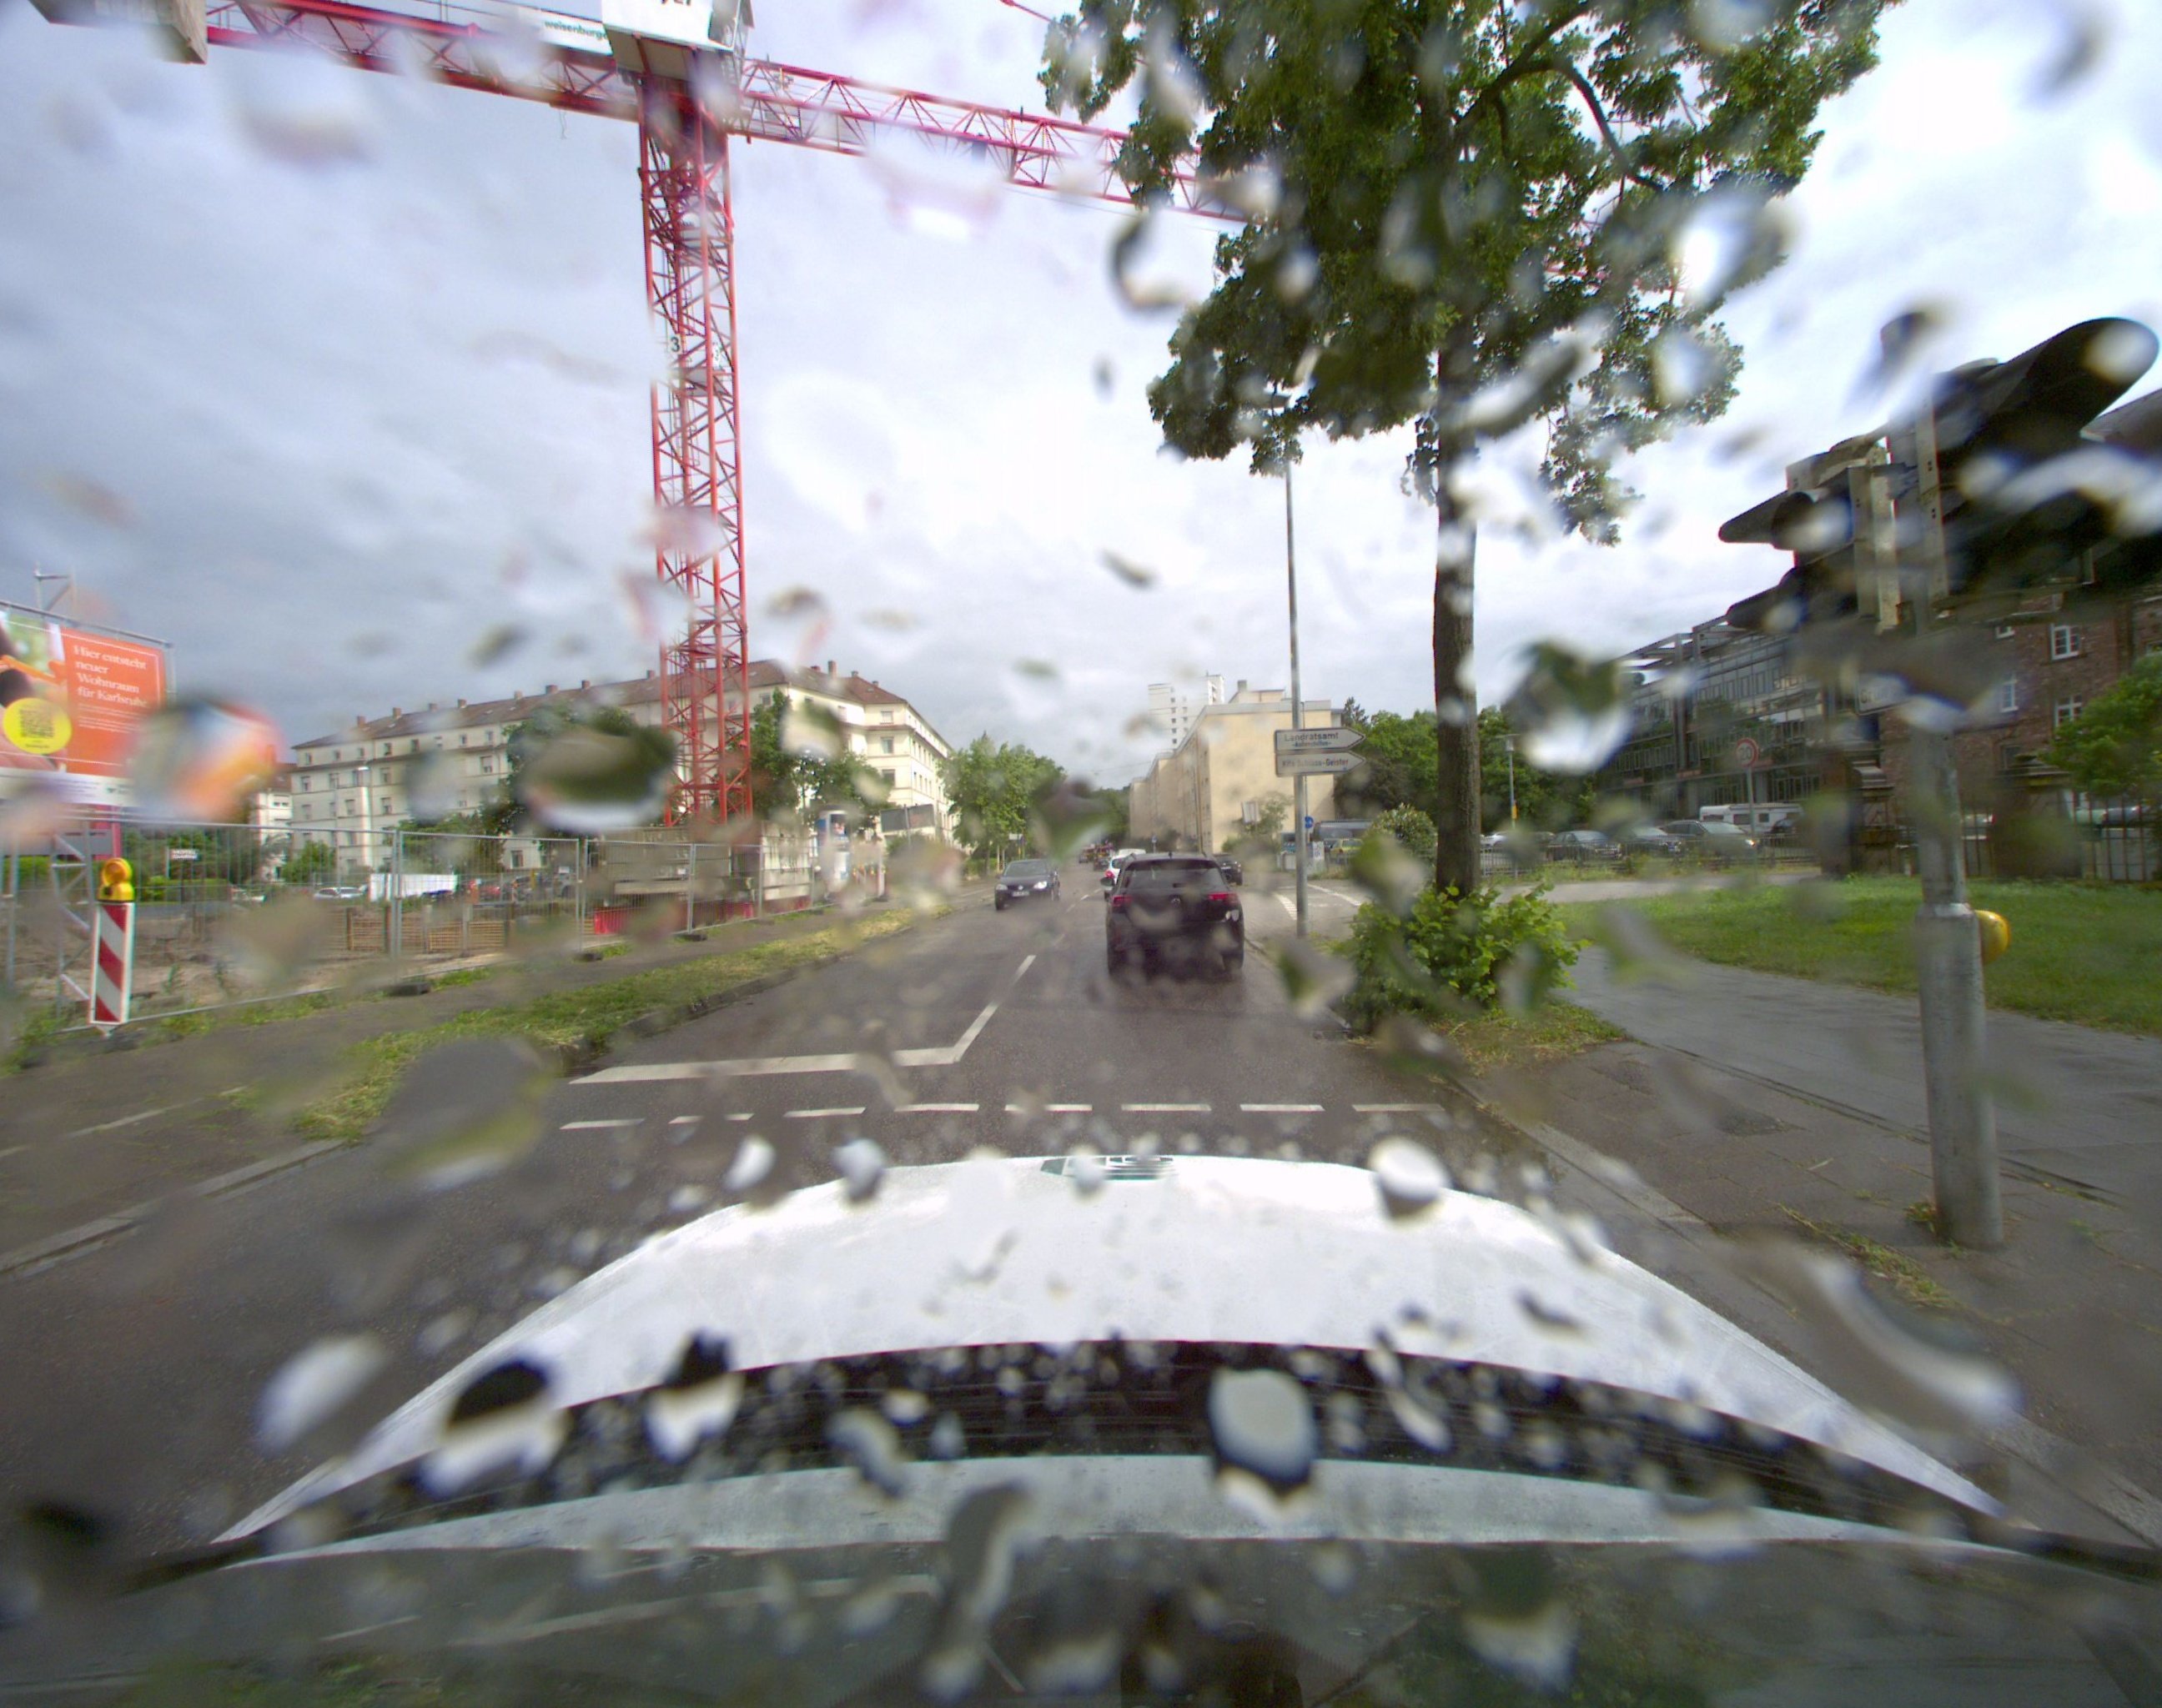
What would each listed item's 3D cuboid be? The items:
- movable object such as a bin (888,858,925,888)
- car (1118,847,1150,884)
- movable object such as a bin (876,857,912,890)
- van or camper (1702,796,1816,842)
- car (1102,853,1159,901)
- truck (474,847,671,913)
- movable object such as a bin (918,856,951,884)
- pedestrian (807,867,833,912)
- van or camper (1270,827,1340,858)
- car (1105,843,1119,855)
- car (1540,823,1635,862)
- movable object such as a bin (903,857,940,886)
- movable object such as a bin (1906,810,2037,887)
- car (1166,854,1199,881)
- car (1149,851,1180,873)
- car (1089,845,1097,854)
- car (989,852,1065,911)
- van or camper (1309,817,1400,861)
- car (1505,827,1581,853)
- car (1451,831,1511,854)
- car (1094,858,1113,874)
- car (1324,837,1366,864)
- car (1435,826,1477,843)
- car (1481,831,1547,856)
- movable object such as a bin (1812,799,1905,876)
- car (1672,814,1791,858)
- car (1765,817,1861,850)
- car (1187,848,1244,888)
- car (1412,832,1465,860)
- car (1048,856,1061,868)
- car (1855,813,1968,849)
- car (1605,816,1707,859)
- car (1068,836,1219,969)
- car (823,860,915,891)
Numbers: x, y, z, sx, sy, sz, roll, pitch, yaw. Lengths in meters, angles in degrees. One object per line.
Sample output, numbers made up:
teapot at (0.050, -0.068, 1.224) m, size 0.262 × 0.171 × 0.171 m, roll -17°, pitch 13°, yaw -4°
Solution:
movable object such as a bin at (-10.632, 1.155, 49.701) m, size 1.524 × 1.656 × 1.536 m, roll -3°, pitch 0°, yaw 21°
car at (3.176, 0.717, 48.625) m, size 1.828 × 2.103 × 4.004 m, roll 0°, pitch -1°, yaw 4°
movable object such as a bin at (-11.044, 1.166, 48.170) m, size 1.524 × 1.824 × 1.270 m, roll -3°, pitch 0°, yaw 21°
van or camper at (39.569, -2.021, 47.615) m, size 4.768 × 2.486 × 2.258 m, roll 0°, pitch -1°, yaw 1°
car at (1.654, 0.752, 27.848) m, size 1.806 × 1.503 × 4.002 m, roll 0°, pitch -1°, yaw 2°
truck at (-29.041, 1.448, 46.601) m, size 9.738 × 3.184 × 3.808 m, roll -3°, pitch 0°, yaw 15°
movable object such as a bin at (-9.475, 1.048, 52.753) m, size 1.524 × 1.662 × 1.466 m, roll -3°, pitch 0°, yaw 21°
pedestrian at (-9.505, 1.273, 29.634) m, size 0.727 × 1.630 × 0.676 m, roll 0°, pitch -1°, yaw -36°
van or camper at (16.937, -0.855, 61.699) m, size 4.736 × 2.131 × 2.325 m, roll -2°, pitch 0°, yaw 5°
car at (4.467, -0.728, 115.961) m, size 1.833 × 1.608 × 3.678 m, roll -4°, pitch 0°, yaw 3°
car at (22.270, -0.467, 36.045) m, size 1.819 × 1.527 × 4.432 m, roll -3°, pitch 0°, yaw 7°
movable object such as a bin at (-10.037, 1.112, 51.250) m, size 1.524 × 1.674 × 1.674 m, roll -3°, pitch 0°, yaw 21°
movable object such as a bin at (18.163, -0.111, 16.656) m, size 1.101 × 1.457 × 1.392 m, roll -4°, pitch 0°, yaw 3°
car at (5.953, 0.823, 48.014) m, size 1.749 × 1.528 × 4.004 m, roll 0°, pitch -2°, yaw 4°
car at (6.083, 0.595, 59.738) m, size 1.744 × 1.508 × 4.108 m, roll -2°, pitch -1°, yaw -2°
car at (2.607, -0.946, 178.999) m, size 1.660 × 1.837 × 3.999 m, roll -3°, pitch 0°, yaw 0°
car at (-1.637, 0.819, 25.967) m, size 1.833 × 1.608 × 4.003 m, roll -4°, pitch 0°, yaw 3°
van or camper at (17.238, -0.908, 51.467) m, size 4.977 × 2.554 × 2.176 m, roll -2°, pitch -1°, yaw 3°
car at (30.309, -0.899, 53.522) m, size 3.957 × 1.465 × 1.674 m, roll -3°, pitch 0°, yaw 3°
car at (30.076, -0.858, 61.245) m, size 3.649 × 1.486 × 1.642 m, roll -3°, pitch 0°, yaw 5°
car at (2.197, 1.177, 80.671) m, size 1.600 × 1.510 × 3.545 m, roll -4°, pitch 0°, yaw -2°
car at (15.480, -0.229, 47.914) m, size 1.603 × 1.449 × 3.421 m, roll -3°, pitch 0°, yaw 5°
car at (35.331, -1.840, 76.785) m, size 3.209 × 1.397 × 1.511 m, roll -3°, pitch 0°, yaw 5°
car at (29.633, -0.722, 55.807) m, size 3.649 × 1.486 × 1.642 m, roll -3°, pitch 0°, yaw 5°
movable object such as a bin at (15.760, -0.321, 16.543) m, size 0.796 × 1.457 × 1.098 m, roll -4°, pitch 0°, yaw 3°
car at (28.296, -0.742, 35.626) m, size 1.845 × 1.679 × 4.428 m, roll -3°, pitch 0°, yaw 4°
car at (40.259, -1.107, 44.850) m, size 3.651 × 1.576 × 1.674 m, roll -3°, pitch 0°, yaw 3°
car at (5.933, 0.605, 36.488) m, size 1.768 × 1.539 × 4.378 m, roll -5°, pitch 0°, yaw 1°
car at (20.614, -0.432, 47.067) m, size 1.641 × 1.486 × 3.723 m, roll -3°, pitch 0°, yaw 5°
car at (-3.670, 1.115, 112.927) m, size 1.582 × 1.639 × 3.917 m, roll -4°, pitch 0°, yaw -2°
car at (40.519, -1.110, 39.788) m, size 3.651 × 1.524 × 1.674 m, roll -3°, pitch 0°, yaw 3°
car at (25.431, -0.704, 36.217) m, size 1.843 × 1.679 × 4.433 m, roll -3°, pitch 0°, yaw 8°
car at (0.854, 0.631, 12.209) m, size 1.866 × 1.645 × 4.063 m, roll -1°, pitch -1°, yaw 2°
car at (-11.418, 1.133, 43.956) m, size 4.405 × 1.585 × 1.827 m, roll -1°, pitch 0°, yaw 10°
